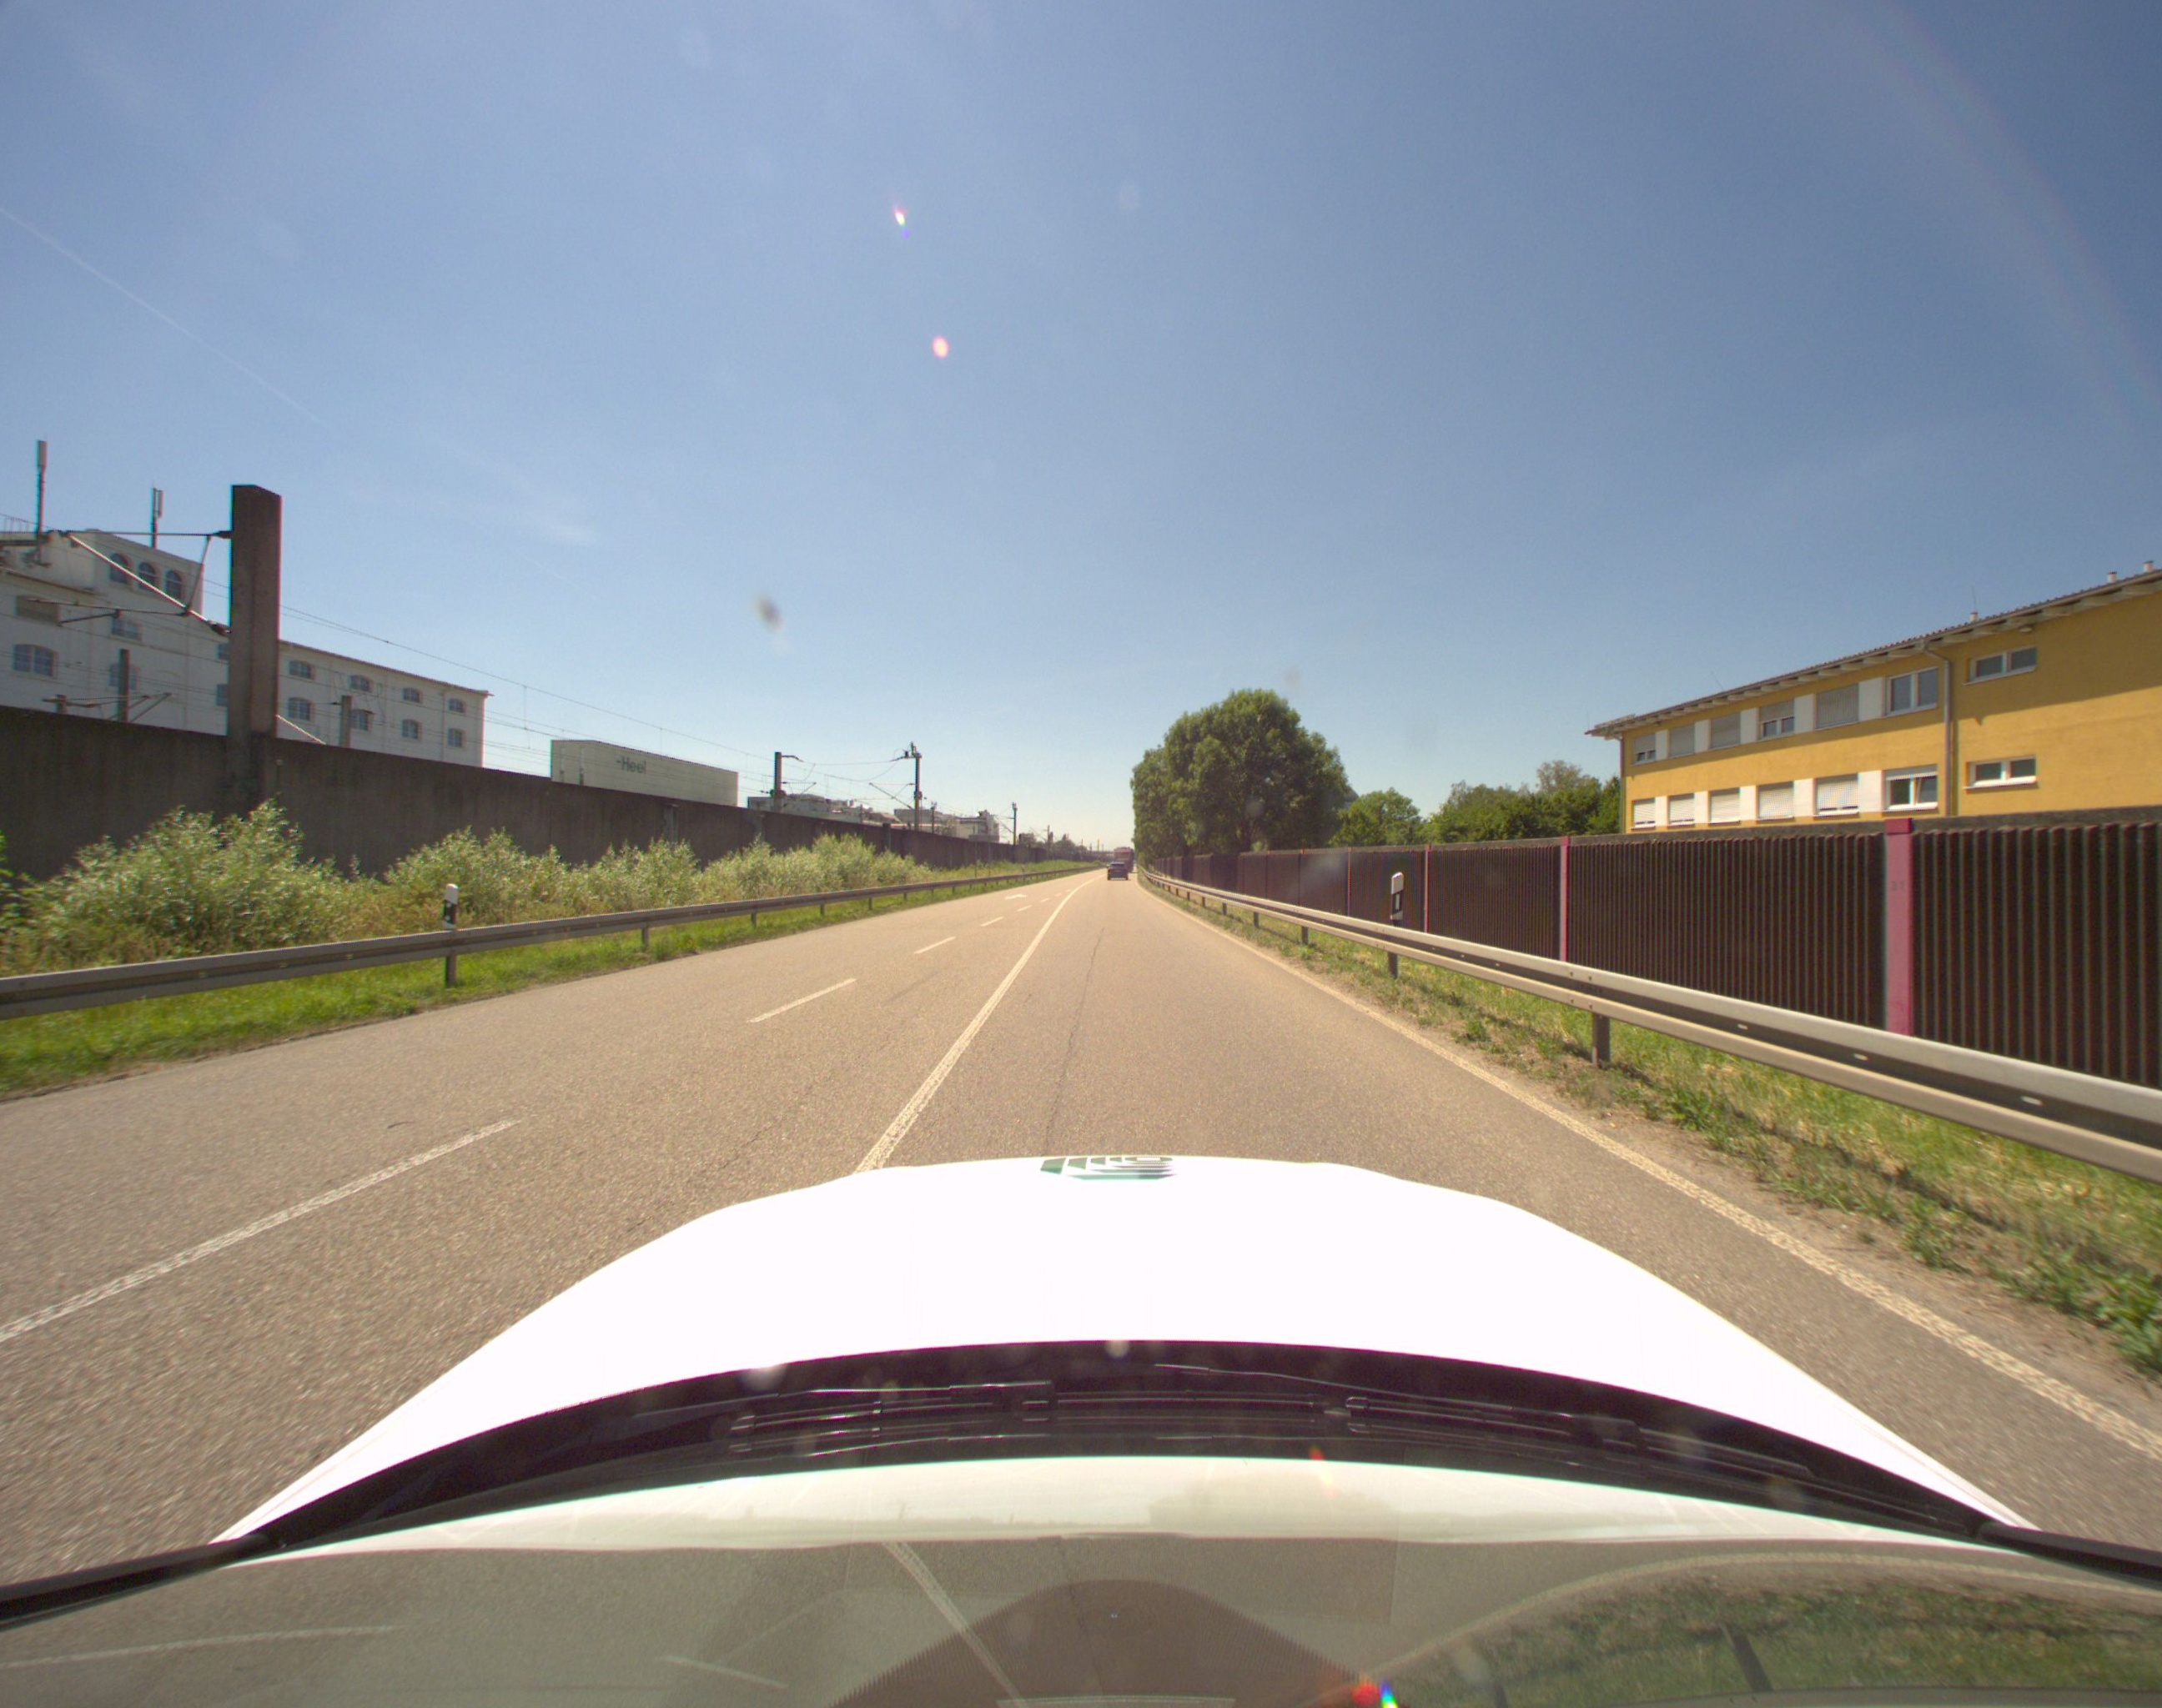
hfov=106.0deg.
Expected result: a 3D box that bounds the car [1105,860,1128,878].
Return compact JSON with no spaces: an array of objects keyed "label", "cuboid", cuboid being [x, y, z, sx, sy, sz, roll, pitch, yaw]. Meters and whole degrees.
[{"label":"car","cuboid":[3.091,1.325,71.433,1.986,1.508,4.001,-1,-1,1]}]

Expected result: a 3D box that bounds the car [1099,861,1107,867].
[{"label":"car","cuboid":[5.863,2.625,213.431,1.985,1.508,4.004,-1,-1,3]}]

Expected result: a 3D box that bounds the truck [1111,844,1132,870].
[{"label":"truck","cuboid":[5.827,0.459,116.212,2.758,3.425,10.829,0,-1,4]}]
